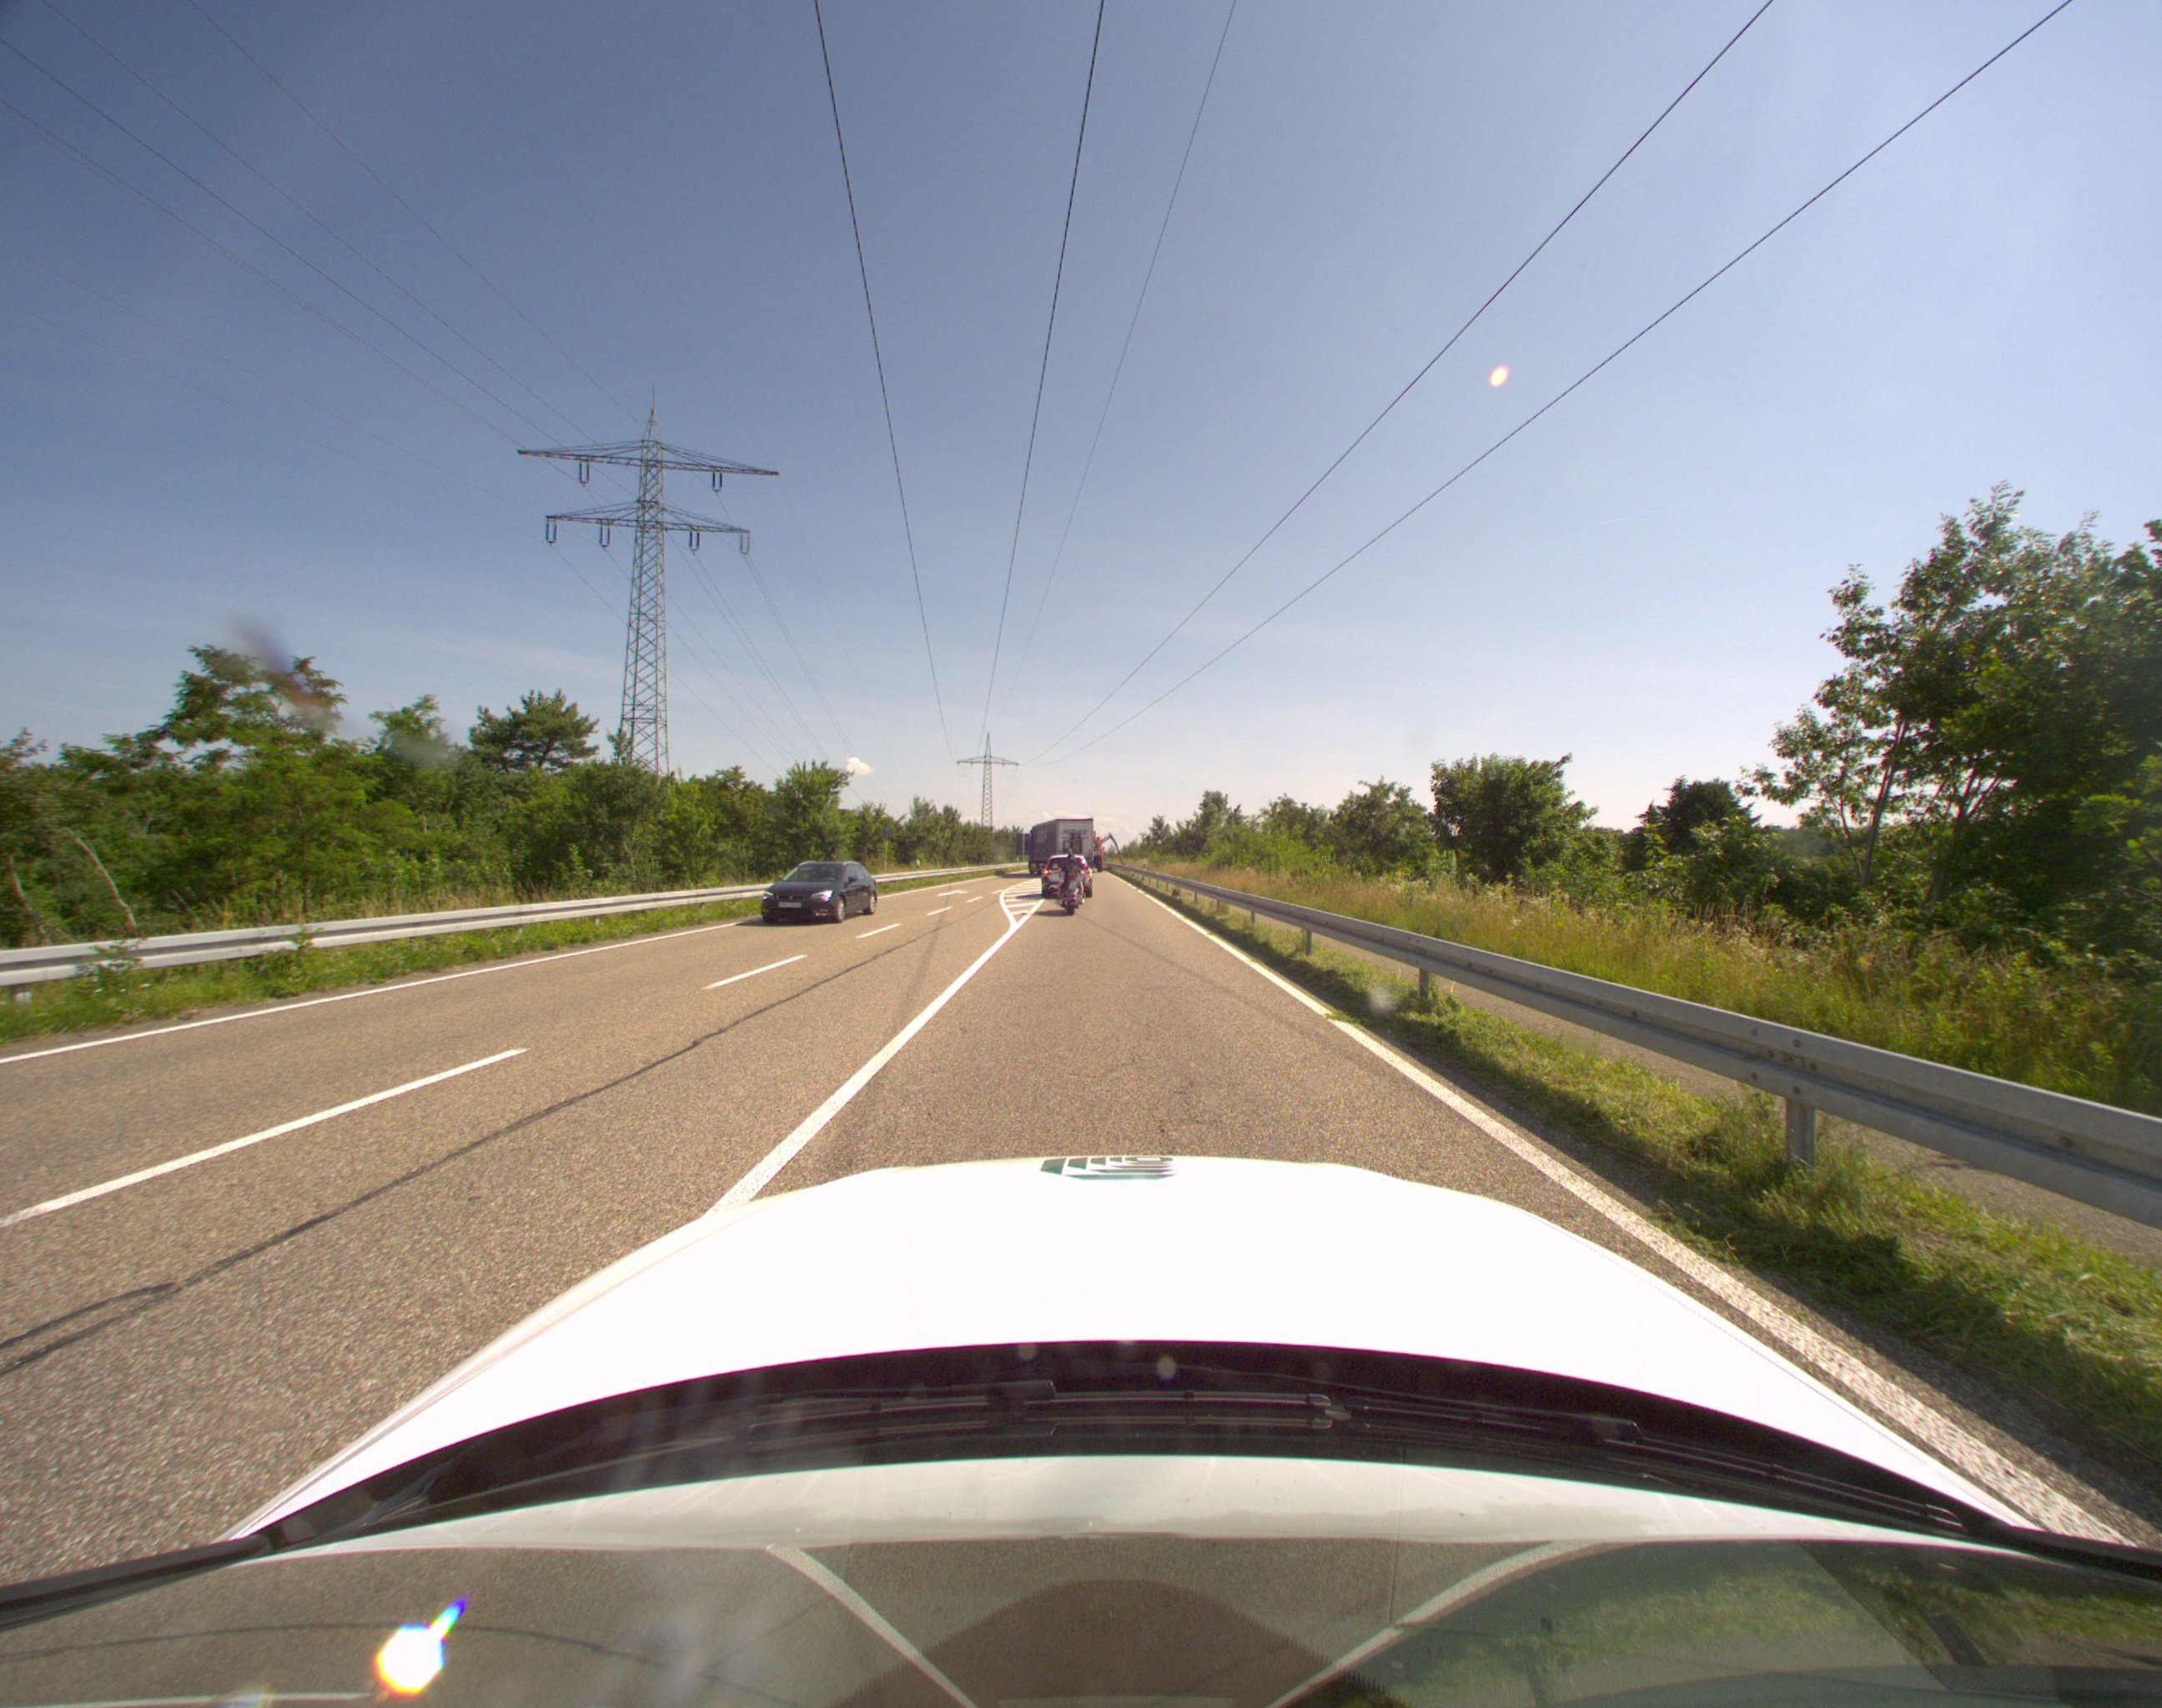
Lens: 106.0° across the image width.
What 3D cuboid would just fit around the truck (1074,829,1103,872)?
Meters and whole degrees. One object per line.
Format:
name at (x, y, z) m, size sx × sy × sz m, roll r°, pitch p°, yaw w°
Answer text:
truck at (0.627, -0.304, 75.373) m, size 2.606 × 3.711 × 6.775 m, roll 0°, pitch 0°, yaw -1°

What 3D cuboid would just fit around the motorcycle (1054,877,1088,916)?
motorcycle at (-0.279, 1.082, 21.381) m, size 0.856 × 0.915 × 2.226 m, roll 0°, pitch 0°, yaw -2°

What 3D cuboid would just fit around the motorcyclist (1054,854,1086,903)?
motorcyclist at (-0.291, 0.631, 21.517) m, size 0.835 × 1.280 × 0.918 m, roll 0°, pitch 0°, yaw -2°

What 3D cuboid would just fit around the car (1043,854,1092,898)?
car at (-0.508, 0.778, 30.197) m, size 1.696 × 1.536 × 3.497 m, roll 0°, pitch 0°, yaw -2°

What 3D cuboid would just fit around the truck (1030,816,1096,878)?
truck at (-1.685, -0.465, 63.155) m, size 2.968 × 4.187 × 14.772 m, roll 0°, pitch 0°, yaw -10°

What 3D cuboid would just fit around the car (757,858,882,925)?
car at (-6.278, 0.837, 20.067) m, size 1.654 × 1.442 × 4.215 m, roll 0°, pitch 0°, yaw 1°
